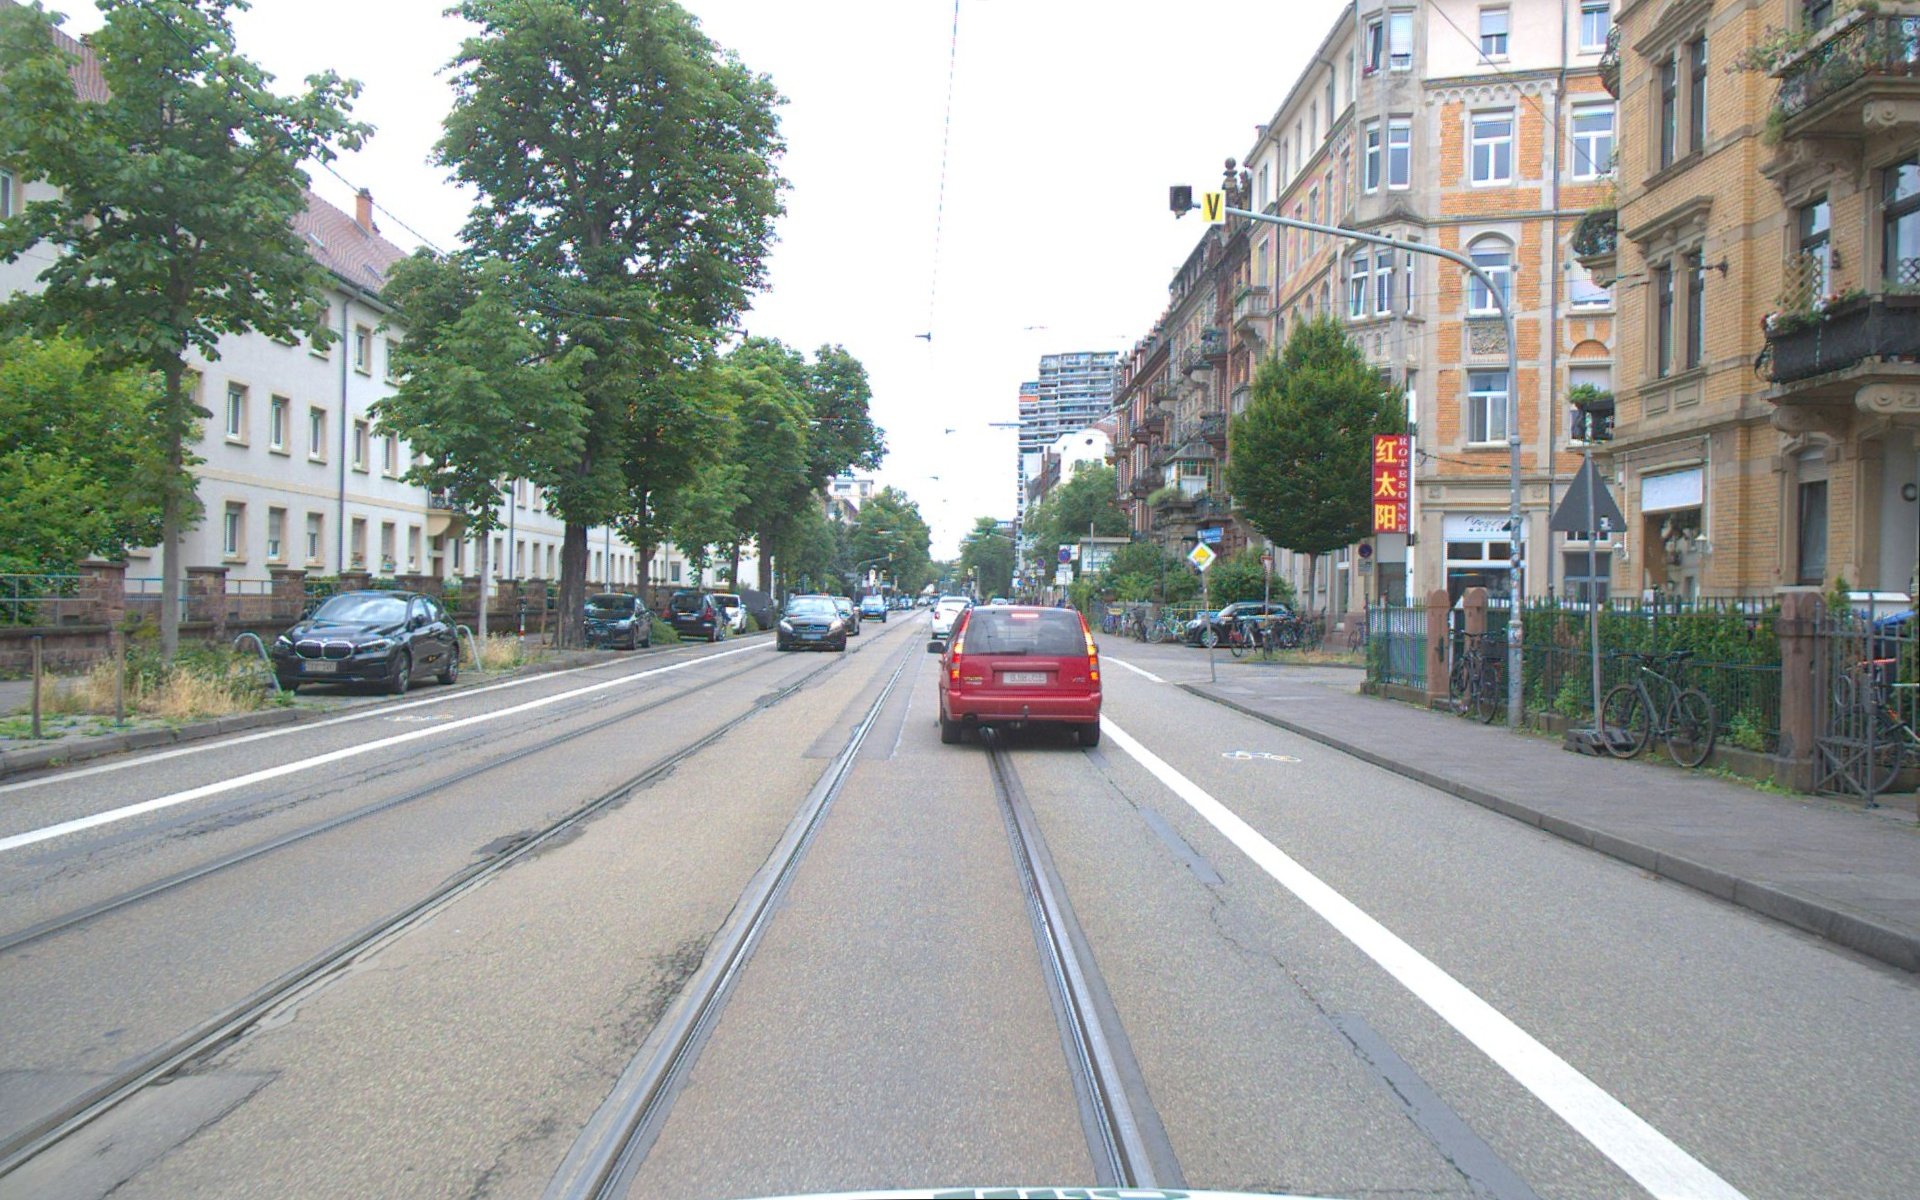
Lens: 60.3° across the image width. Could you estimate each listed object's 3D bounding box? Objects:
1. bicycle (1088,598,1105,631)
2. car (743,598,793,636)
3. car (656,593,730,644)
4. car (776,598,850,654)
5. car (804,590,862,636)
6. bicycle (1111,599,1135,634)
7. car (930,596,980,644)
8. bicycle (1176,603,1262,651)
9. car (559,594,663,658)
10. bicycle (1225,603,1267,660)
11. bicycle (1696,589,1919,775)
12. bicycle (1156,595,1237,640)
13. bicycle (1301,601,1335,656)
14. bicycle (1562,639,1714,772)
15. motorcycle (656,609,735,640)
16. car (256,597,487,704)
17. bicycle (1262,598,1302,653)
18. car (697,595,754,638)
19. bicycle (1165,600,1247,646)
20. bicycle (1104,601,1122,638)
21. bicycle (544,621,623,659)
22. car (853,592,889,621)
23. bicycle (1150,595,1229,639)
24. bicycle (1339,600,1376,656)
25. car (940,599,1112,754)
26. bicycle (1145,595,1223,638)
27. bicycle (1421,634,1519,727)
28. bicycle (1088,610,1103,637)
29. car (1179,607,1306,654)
[{"bbox_3d":[6.248,0.646,75.919,0.544,1.483,2.985,1,0,1],"label":"bicycle"},{"bbox_3d":[-8.145,0.708,70.471,1.685,1.512,4.000,1,0,0],"label":"car"},{"bbox_3d":[-8.776,0.582,54.698,1.813,1.590,3.942,1,0,-1],"label":"car"},{"bbox_3d":[-3.972,0.680,45.101,1.720,1.404,4.025,1,0,-1],"label":"car"},{"bbox_3d":[-4.749,0.474,62.175,1.855,1.639,4.499,1,0,-1],"label":"car"},{"bbox_3d":[6.169,0.614,62.642,0.694,1.323,1.904,1,0,0],"label":"bicycle"},{"bbox_3d":[-0.145,0.685,59.753,1.683,1.653,3.941,1,0,1],"label":"car"},{"bbox_3d":[9.351,0.960,59.792,2.916,1.653,1.049,1,0,-3],"label":"bicycle"},{"bbox_3d":[-8.721,0.612,41.624,1.682,1.508,4.000,1,0,1],"label":"car"},{"bbox_3d":[8.094,0.869,46.716,0.898,1.533,2.382,1,0,16],"label":"bicycle"},{"bbox_3d":[8.349,0.722,16.126,0.971,1.631,2.963,1,0,-1],"label":"bicycle"},{"bbox_3d":[9.116,0.659,63.859,2.916,1.653,1.049,1,0,-3],"label":"bicycle"},{"bbox_3d":[10.361,0.813,47.847,0.773,1.533,2.382,1,0,16],"label":"bicycle"},{"bbox_3d":[6.444,0.969,15.847,0.512,1.119,2.176,-1,0,-1],"label":"bicycle"},{"bbox_3d":[-9.749,0.890,61.043,2.815,1.096,1.098,1,0,-8],"label":"motorcycle"},{"bbox_3d":[-8.751,0.694,25.010,1.851,1.422,4.417,1,0,0],"label":"car"},{"bbox_3d":[9.342,0.718,47.924,0.898,1.533,2.382,1,0,16],"label":"bicycle"},{"bbox_3d":[-9.342,0.643,66.057,1.678,1.608,4.000,2,0,0],"label":"car"},{"bbox_3d":[9.272,0.867,62.430,2.916,1.653,1.049,1,0,-3],"label":"bicycle"},{"bbox_3d":[6.141,0.770,66.316,0.540,1.424,1.733,1,0,0],"label":"bicycle"},{"bbox_3d":[-9.080,0.960,39.933,1.713,0.858,0.684,1,0,0],"label":"bicycle"},{"bbox_3d":[-5.261,0.390,98.256,1.855,1.639,4.500,2,0,0],"label":"car"},{"bbox_3d":[9.024,0.654,65.021,2.916,1.653,1.049,1,0,-3],"label":"bicycle"},{"bbox_3d":[11.342,0.791,47.165,0.898,1.533,2.382,1,0,16],"label":"bicycle"},{"bbox_3d":[0.624,0.744,17.976,1.654,1.466,3.742,1,0,-1],"label":"car"},{"bbox_3d":[8.981,0.649,66.334,2.916,1.653,1.049,1,0,-3],"label":"bicycle"},{"bbox_3d":[6.327,0.973,20.640,0.512,1.048,2.176,1,0,-1],"label":"bicycle"},{"bbox_3d":[5.899,1.010,72.164,0.480,1.118,1.734,1,0,0],"label":"bicycle"},{"bbox_3d":[8.952,0.940,52.501,3.902,1.385,1.894,1,0,10],"label":"car"}]
